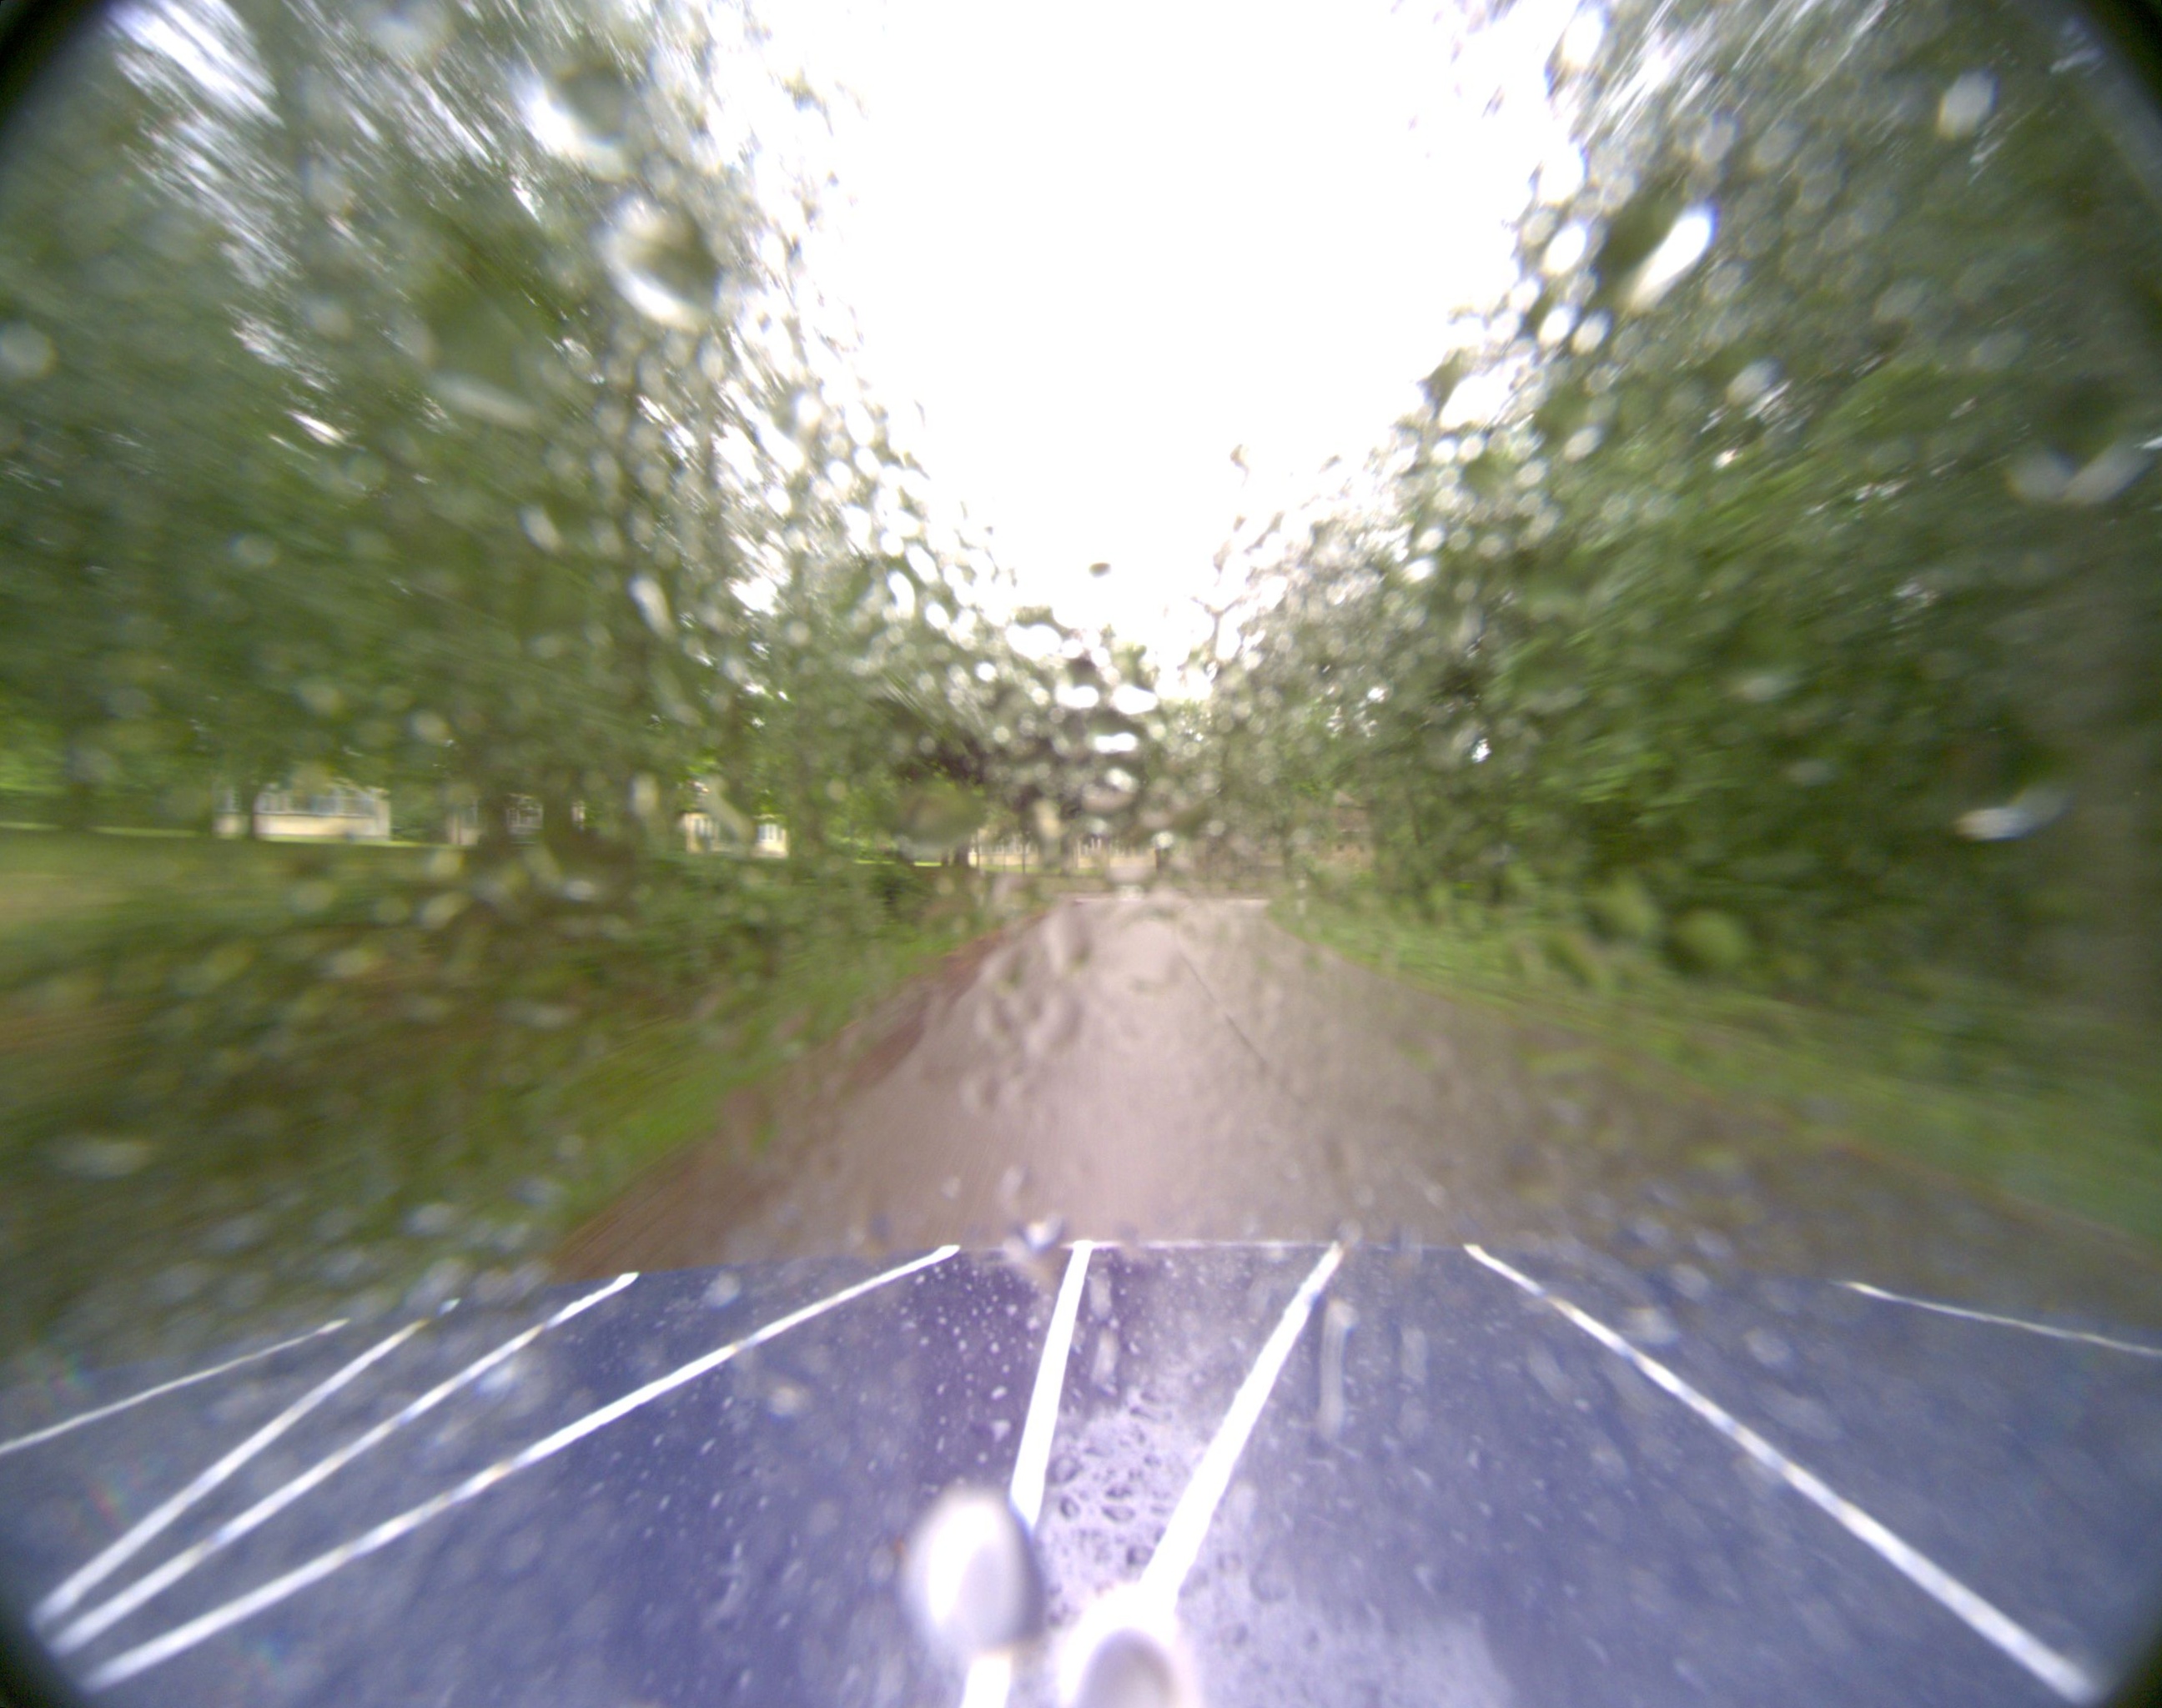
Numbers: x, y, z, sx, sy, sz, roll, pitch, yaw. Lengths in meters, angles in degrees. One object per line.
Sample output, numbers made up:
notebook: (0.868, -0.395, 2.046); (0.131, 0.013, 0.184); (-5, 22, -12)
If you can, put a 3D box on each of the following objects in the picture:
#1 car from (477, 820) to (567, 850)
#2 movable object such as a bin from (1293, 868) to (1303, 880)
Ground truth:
car: (-37.120, -1.233, 50.546); (4.576, 1.824, 1.994); (1, -1, -45)
movable object such as a bin: (18.706, 1.705, 65.611); (0.631, 1.068, 0.762); (0, -1, 33)
